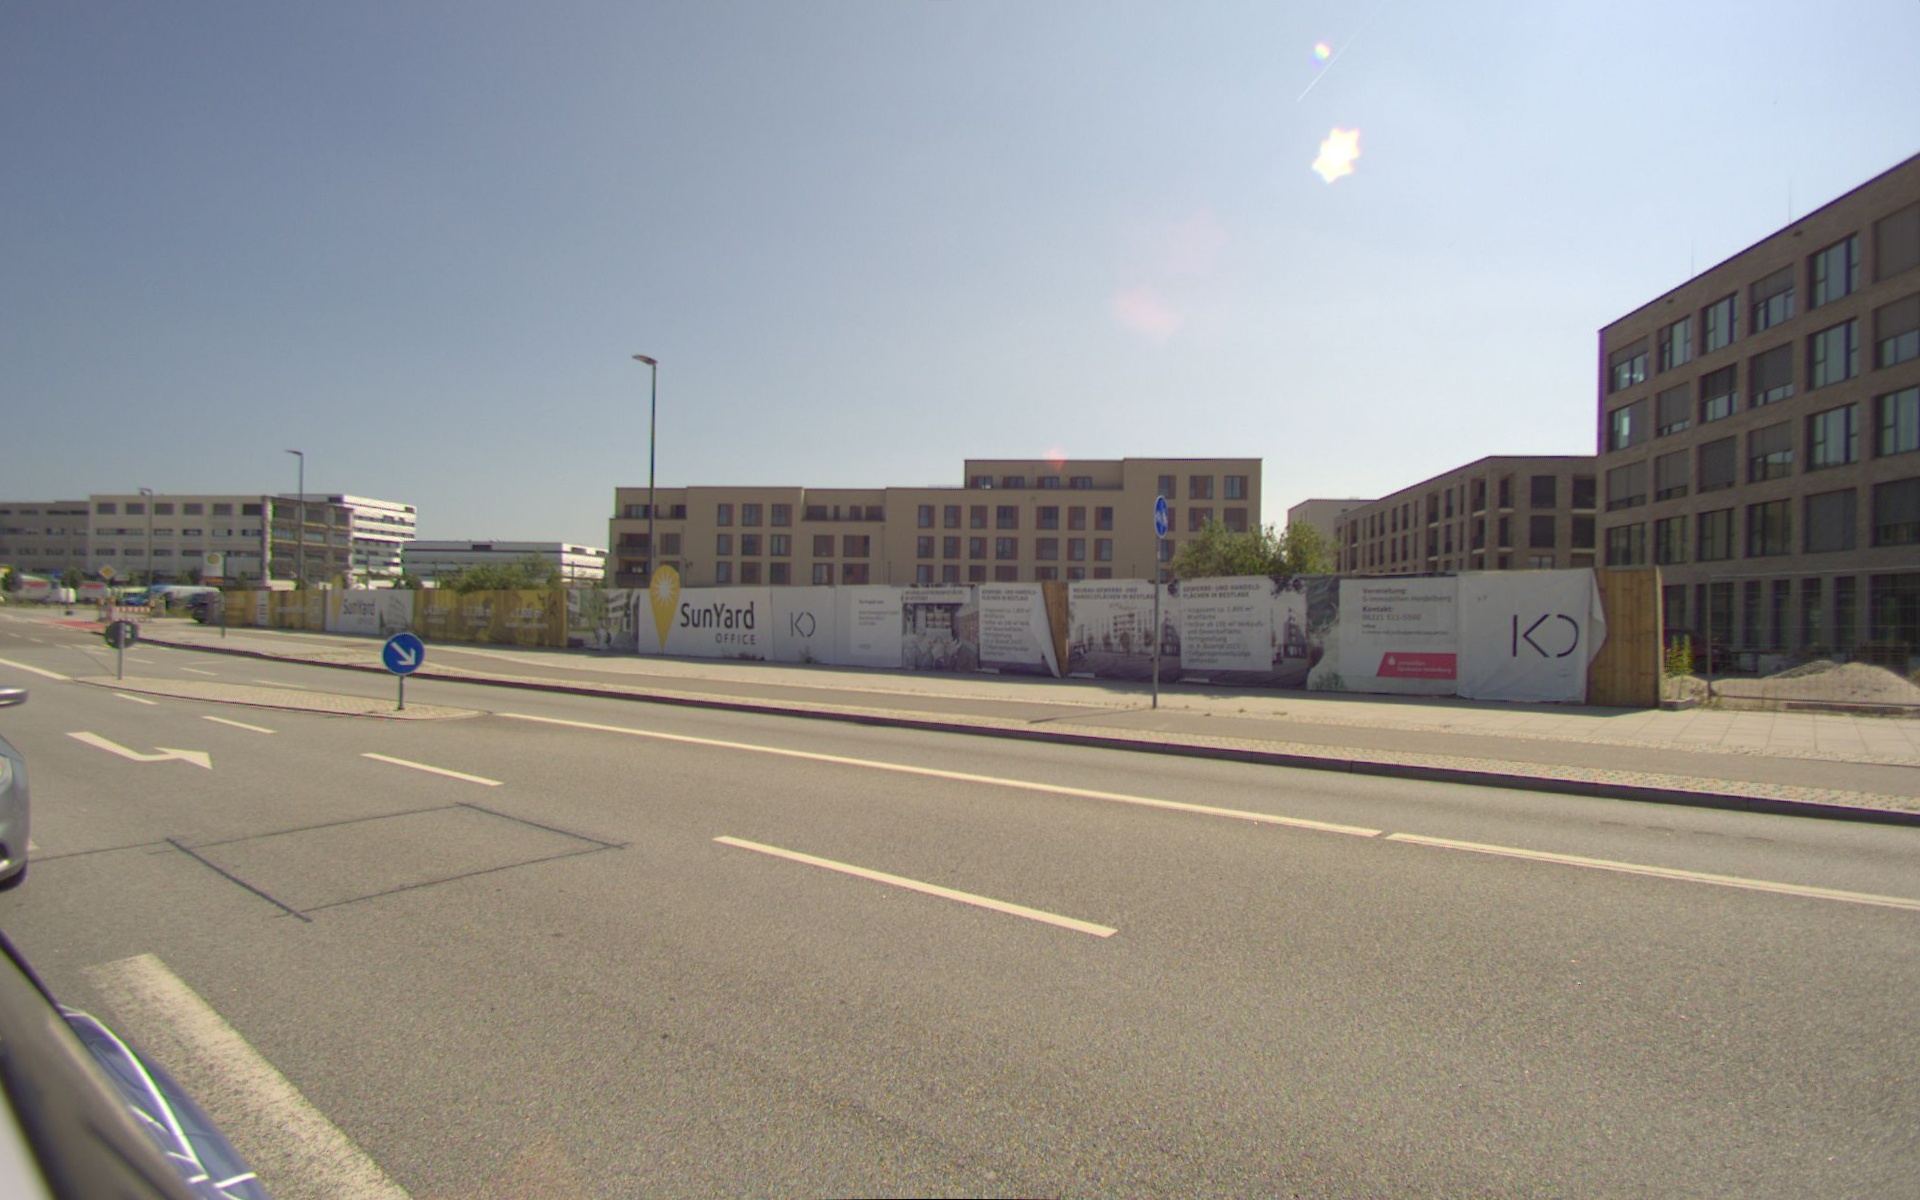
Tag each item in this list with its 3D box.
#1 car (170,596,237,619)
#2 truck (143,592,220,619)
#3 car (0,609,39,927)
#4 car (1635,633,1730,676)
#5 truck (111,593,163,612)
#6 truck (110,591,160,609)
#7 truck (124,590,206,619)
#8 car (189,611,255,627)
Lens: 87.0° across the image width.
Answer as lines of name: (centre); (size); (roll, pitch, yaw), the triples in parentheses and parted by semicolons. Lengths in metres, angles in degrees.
car: (-60.366, 0.605, 80.807); (1.888, 1.731, 3.885); (0, 1, 35)
truck: (-67.069, 0.426, 87.289); (1.998, 2.245, 4.942); (0, 1, 39)
car: (-6.593, 0.794, 5.572); (4.345, 1.478, 1.796); (-1, 0, 41)
car: (32.012, 2.387, 44.983); (1.814, 1.666, 3.772); (0, 0, 7)
truck: (-114.914, 0.304, 141.387); (1.996, 2.494, 5.270); (0, 1, 36)
truck: (-120.244, -0.020, 147.555); (1.998, 2.494, 5.346); (0, 1, 38)
truck: (-72.493, 0.389, 92.345); (1.996, 2.494, 5.567); (0, 1, 36)
car: (-48.355, 1.225, 66.302); (1.293, 0.960, 3.315); (0, 1, 43)
